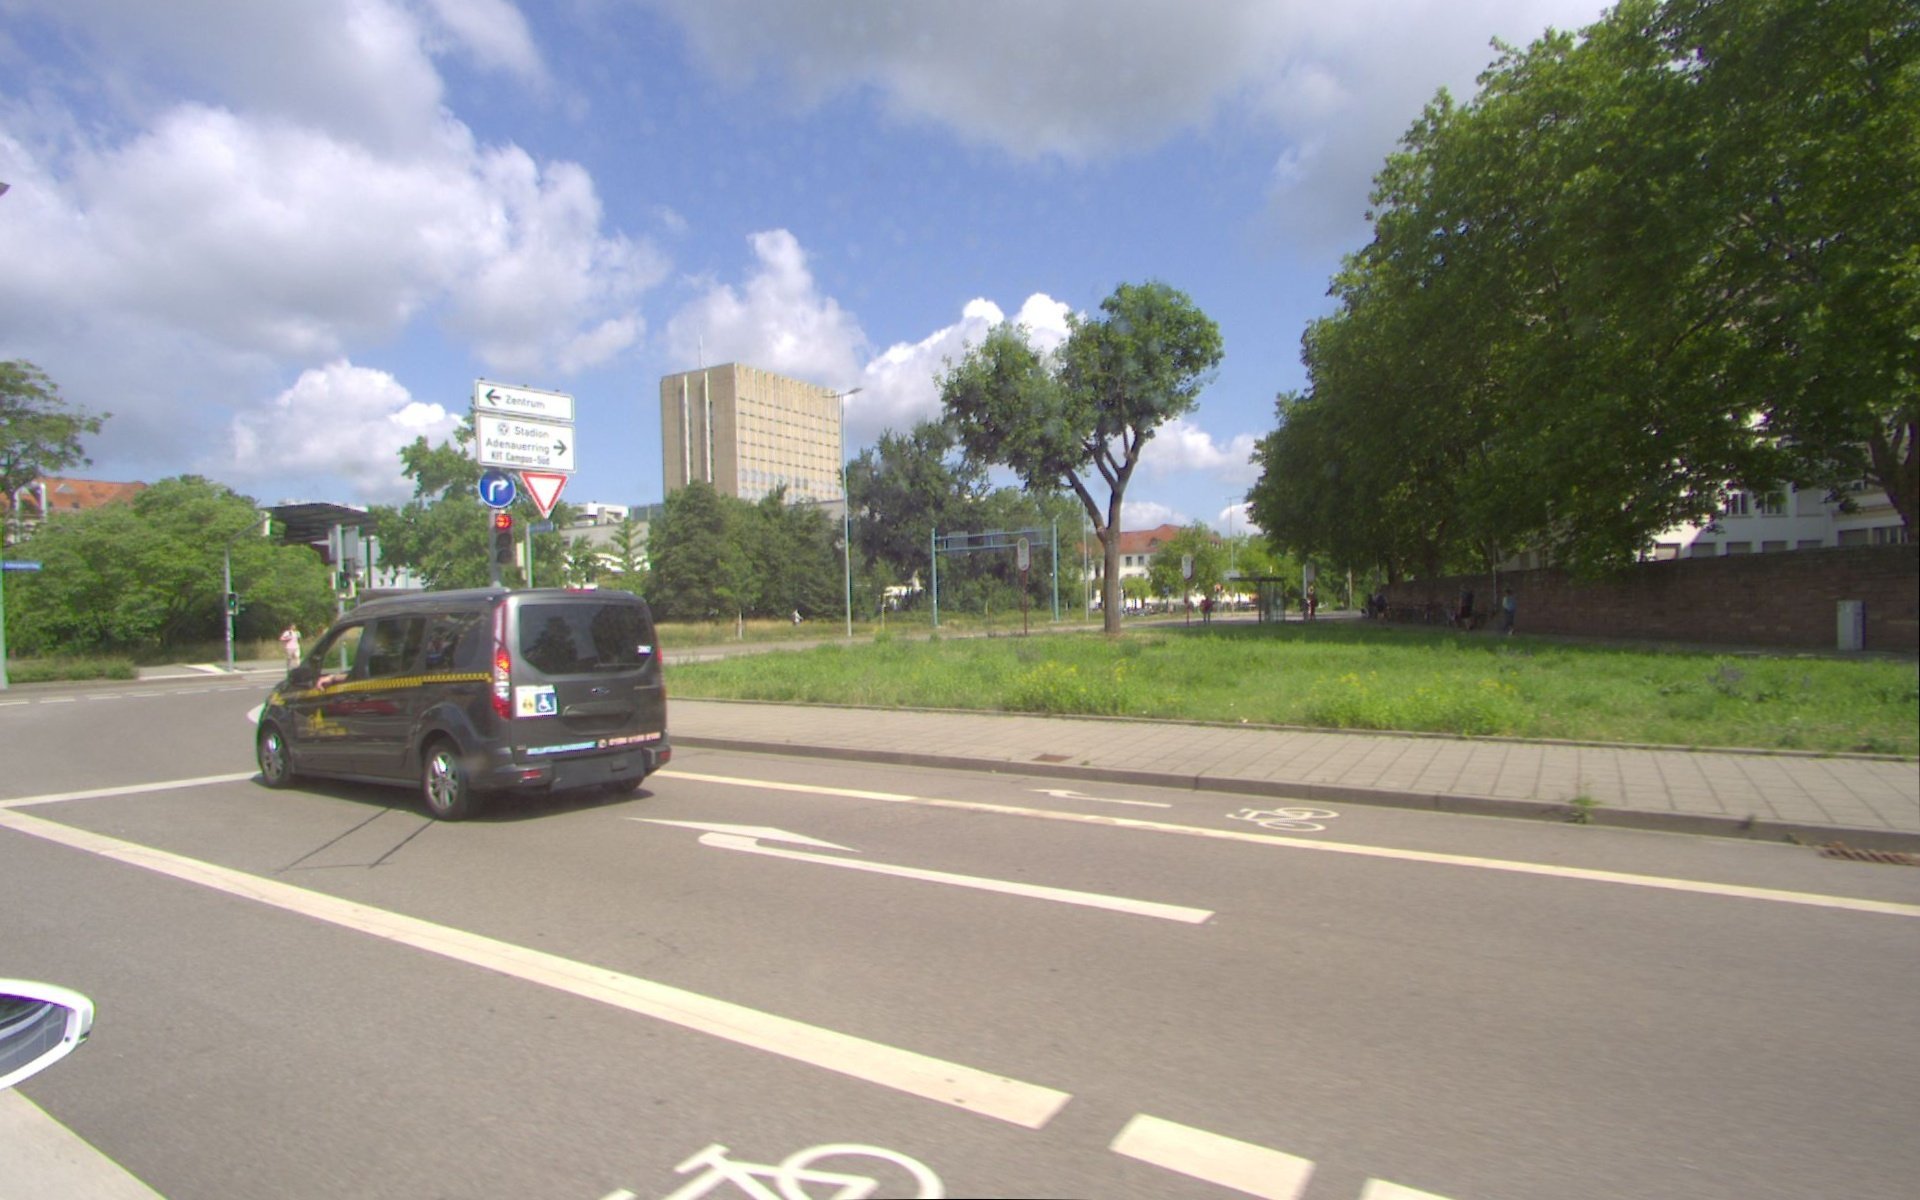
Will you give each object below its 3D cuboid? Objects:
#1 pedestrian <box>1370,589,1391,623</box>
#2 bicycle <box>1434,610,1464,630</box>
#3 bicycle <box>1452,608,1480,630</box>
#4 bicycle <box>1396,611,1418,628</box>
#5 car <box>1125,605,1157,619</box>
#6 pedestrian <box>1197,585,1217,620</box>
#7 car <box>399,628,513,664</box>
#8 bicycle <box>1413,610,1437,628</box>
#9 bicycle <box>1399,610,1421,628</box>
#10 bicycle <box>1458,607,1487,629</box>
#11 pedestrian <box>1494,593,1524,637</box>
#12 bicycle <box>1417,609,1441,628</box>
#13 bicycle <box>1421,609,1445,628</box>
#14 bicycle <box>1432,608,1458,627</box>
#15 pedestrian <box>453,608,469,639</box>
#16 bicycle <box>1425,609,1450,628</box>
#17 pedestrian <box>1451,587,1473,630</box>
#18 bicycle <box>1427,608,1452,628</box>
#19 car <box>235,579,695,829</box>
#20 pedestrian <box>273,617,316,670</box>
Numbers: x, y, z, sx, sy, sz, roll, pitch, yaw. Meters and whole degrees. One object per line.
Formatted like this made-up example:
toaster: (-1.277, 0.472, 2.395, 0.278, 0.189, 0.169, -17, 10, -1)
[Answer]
pedestrian: (22.566, 0.304, 53.758, 0.870, 1.804, 0.770, -1, 1, 9)
bicycle: (21.635, 0.879, 44.314, 1.053, 0.860, 0.499, -1, 0, 11)
bicycle: (21.200, 0.794, 41.977, 0.955, 0.860, 0.482, -1, 1, 11)
bicycle: (23.056, 0.984, 51.691, 0.955, 0.860, 0.482, -1, 1, 11)
car: (18.838, 1.240, 104.253, 1.774, 1.289, 3.973, -1, 0, 36)
pedestrian: (13.243, 0.139, 53.718, 0.739, 1.803, 0.960, -2, 0, 32)
car: (-22.539, 2.012, 44.909, 1.973, 1.395, 4.135, -1, 0, 34)
bicycle: (22.412, 0.915, 48.252, 0.955, 0.860, 0.482, -1, 1, 11)
bicycle: (22.977, 0.961, 51.117, 0.955, 0.860, 0.482, -1, 1, 11)
bicycle: (21.148, 0.745, 41.293, 0.955, 0.860, 0.482, -1, 1, 11)
pedestrian: (19.867, 0.542, 36.240, 0.712, 1.554, 0.724, -2, 0, 7)
bicycle: (22.328, 0.893, 47.703, 0.955, 0.860, 0.482, -1, 1, 11)
bicycle: (22.225, 0.867, 47.059, 0.955, 0.860, 0.482, -1, 1, 11)
bicycle: (21.866, 0.789, 45.111, 0.955, 0.860, 0.482, -1, 1, 11)
pedestrian: (-26.246, 1.252, 52.675, 0.534, 1.628, 0.522, -1, -2, 29)
bicycle: (22.114, 0.839, 46.389, 0.955, 0.860, 0.482, -1, 1, 11)
pedestrian: (20.309, 0.339, 40.520, 0.651, 1.746, 0.742, -1, 1, 13)
bicycle: (21.957, 0.817, 45.845, 0.955, 0.860, 0.482, -1, 1, 11)
car: (-4.737, 0.816, 9.329, 4.608, 1.808, 1.844, -1, -1, 34)
pedestrian: (-24.856, 1.628, 37.407, 1.161, 1.881, 0.697, -4, 0, 22)
